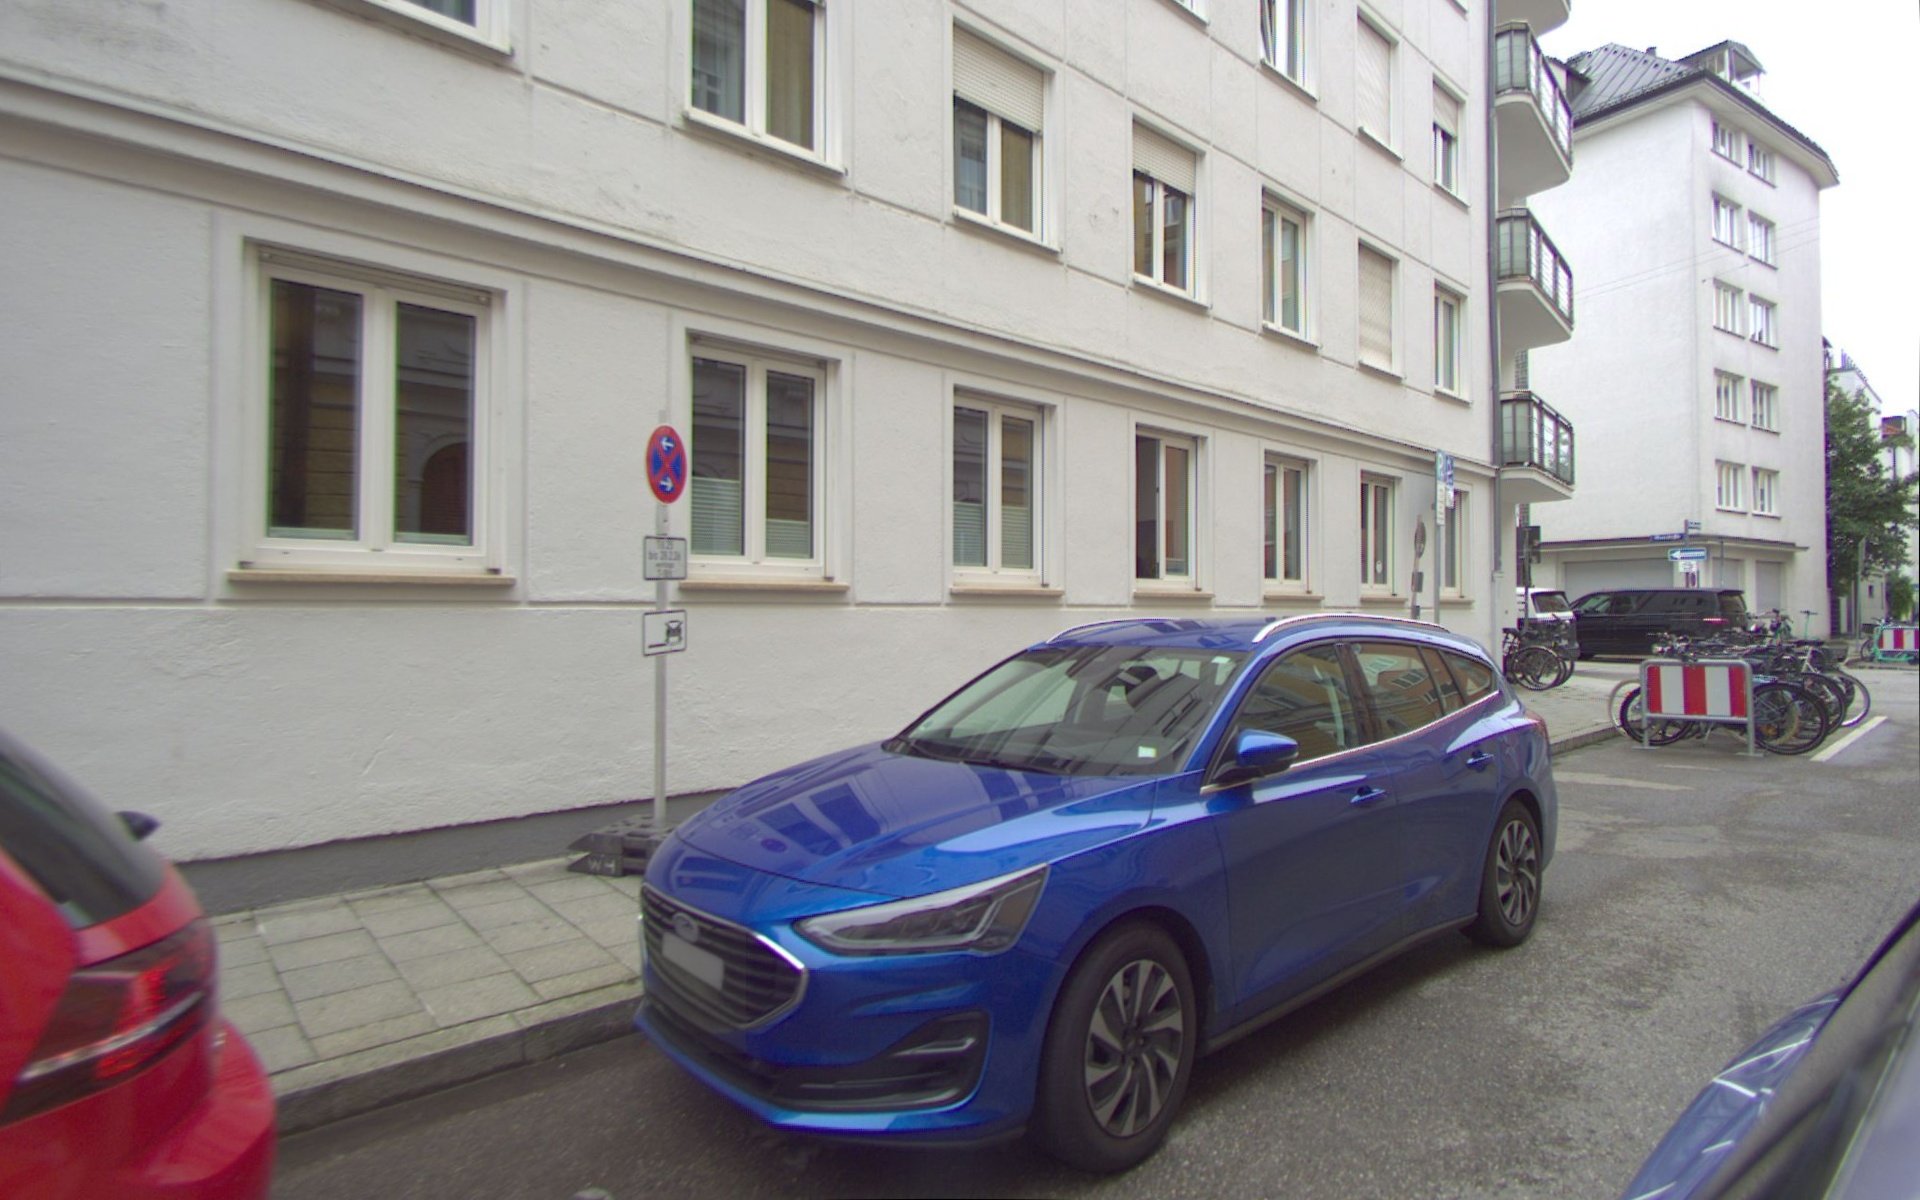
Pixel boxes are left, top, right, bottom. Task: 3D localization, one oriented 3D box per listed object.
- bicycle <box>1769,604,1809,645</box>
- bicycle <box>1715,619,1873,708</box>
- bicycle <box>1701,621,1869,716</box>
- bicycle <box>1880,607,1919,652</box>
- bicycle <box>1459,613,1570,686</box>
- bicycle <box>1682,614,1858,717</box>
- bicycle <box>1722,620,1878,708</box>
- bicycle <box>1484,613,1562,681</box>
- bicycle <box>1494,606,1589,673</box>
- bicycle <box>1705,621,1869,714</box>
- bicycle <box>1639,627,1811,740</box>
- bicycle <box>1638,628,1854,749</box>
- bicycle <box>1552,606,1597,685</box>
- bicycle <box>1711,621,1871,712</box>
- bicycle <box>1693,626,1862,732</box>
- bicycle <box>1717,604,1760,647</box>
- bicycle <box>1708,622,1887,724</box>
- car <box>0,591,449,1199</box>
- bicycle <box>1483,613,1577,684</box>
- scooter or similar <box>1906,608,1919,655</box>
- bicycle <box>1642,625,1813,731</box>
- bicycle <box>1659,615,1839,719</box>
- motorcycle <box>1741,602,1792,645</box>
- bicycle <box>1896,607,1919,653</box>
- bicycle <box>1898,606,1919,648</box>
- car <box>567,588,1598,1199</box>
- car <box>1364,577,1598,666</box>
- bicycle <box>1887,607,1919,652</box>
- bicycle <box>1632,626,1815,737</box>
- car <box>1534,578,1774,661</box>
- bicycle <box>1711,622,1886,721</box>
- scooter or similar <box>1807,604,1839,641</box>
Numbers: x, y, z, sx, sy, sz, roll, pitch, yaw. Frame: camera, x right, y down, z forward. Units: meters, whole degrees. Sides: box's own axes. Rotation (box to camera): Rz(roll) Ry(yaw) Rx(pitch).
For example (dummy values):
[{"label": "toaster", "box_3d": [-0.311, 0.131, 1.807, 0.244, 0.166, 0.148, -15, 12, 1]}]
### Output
[{"label": "bicycle", "box_3d": [25.626, 0.740, 31.262, 1.578, 1.229, 0.529, 0, 0, -34]}, {"label": "bicycle", "box_3d": [11.777, 0.868, 14.337, 0.308, 1.175, 1.697, 1, -1, -42]}, {"label": "bicycle", "box_3d": [11.019, 0.886, 13.568, 0.372, 1.175, 1.697, 1, -1, -42]}, {"label": "bicycle", "box_3d": [26.647, 0.807, 28.087, 0.519, 1.229, 1.607, 0, 0, -39]}, {"label": "bicycle", "box_3d": [8.739, 0.764, 15.987, 1.489, 1.056, 0.395, 2, 1, 30]}, {"label": "bicycle", "box_3d": [10.013, 0.775, 12.561, 0.372, 1.175, 1.664, 1, -1, -42]}, {"label": "bicycle", "box_3d": [12.078, 0.886, 14.598, 0.411, 1.175, 1.697, 1, -1, -42]}, {"label": "bicycle", "box_3d": [9.437, 0.776, 16.985, 1.119, 1.056, 0.395, 2, 1, 30]}, {"label": "bicycle", "box_3d": [11.796, 0.777, 20.571, 0.463, 1.229, 1.610, 0, 2, -33]}, {"label": "bicycle", "box_3d": [11.282, 0.884, 13.861, 0.372, 1.175, 1.697, 1, -1, -42]}, {"label": "bicycle", "box_3d": [8.230, 0.864, 10.947, 0.324, 1.056, 1.441, 0, 2, -33]}, {"label": "bicycle", "box_3d": [8.056, 0.868, 10.451, 0.354, 1.056, 1.706, 0, 2, -41]}, {"label": "bicycle", "box_3d": [10.290, 0.733, 16.976, 0.394, 1.219, 1.494, 2, 1, 23]}, {"label": "bicycle", "box_3d": [11.543, 0.889, 14.112, 0.308, 1.175, 1.697, 1, -1, -42]}, {"label": "bicycle", "box_3d": [9.312, 0.868, 11.578, 0.353, 1.056, 1.444, 0, 2, -33]}, {"label": "bicycle", "box_3d": [22.388, 0.718, 29.101, 1.578, 1.229, 0.529, 0, 0, -34]}, {"label": "bicycle", "box_3d": [10.487, 0.883, 12.728, 0.372, 1.175, 1.697, 1, -1, -42]}, {"label": "car", "box_3d": [-2.877, 0.741, 0.649, 1.759, 1.465, 4.233, -3, -2, 42]}, {"label": "bicycle", "box_3d": [9.199, 0.764, 16.351, 1.285, 1.056, 0.395, 2, 1, 30]}, {"label": "scooter or similar", "box_3d": [25.183, 0.819, 25.940, 0.338, 1.229, 1.340, 1, 0, -39]}, {"label": "bicycle", "box_3d": [8.798, 0.858, 11.661, 0.353, 1.056, 1.523, 0, 2, -33]}, {"label": "bicycle", "box_3d": [9.619, 0.780, 12.396, 0.372, 1.175, 1.697, 1, -1, -42]}, {"label": "motorcycle", "box_3d": [23.974, 0.685, 30.065, 1.899, 1.248, 0.661, 0, 0, -34]}, {"label": "bicycle", "box_3d": [26.113, 0.813, 27.005, 0.519, 1.229, 1.607, 0, 0, -39]}, {"label": "bicycle", "box_3d": [28.527, 0.798, 29.546, 0.519, 1.229, 1.607, 0, 0, -39]}, {"label": "car", "box_3d": [0.865, 0.731, 4.179, 4.306, 1.457, 1.797, 0, -2, -41]}, {"label": "car", "box_3d": [12.198, 0.461, 24.027, 1.896, 1.896, 4.622, 0, 0, -34]}, {"label": "bicycle", "box_3d": [26.373, 0.810, 27.560, 0.519, 1.229, 1.607, 0, 0, -39]}, {"label": "bicycle", "box_3d": [8.436, 0.862, 11.252, 0.316, 1.056, 1.594, 0, 2, -33]}, {"label": "car", "box_3d": [17.516, 0.459, 25.785, 1.896, 1.915, 4.684, 1, -1, -33]}, {"label": "bicycle", "box_3d": [10.749, 0.882, 13.022, 0.372, 1.175, 1.697, 1, -1, -42]}, {"label": "scooter or similar", "box_3d": [28.123, 0.720, 32.969, 1.465, 1.181, 0.407, 0, 0, -34]}]
